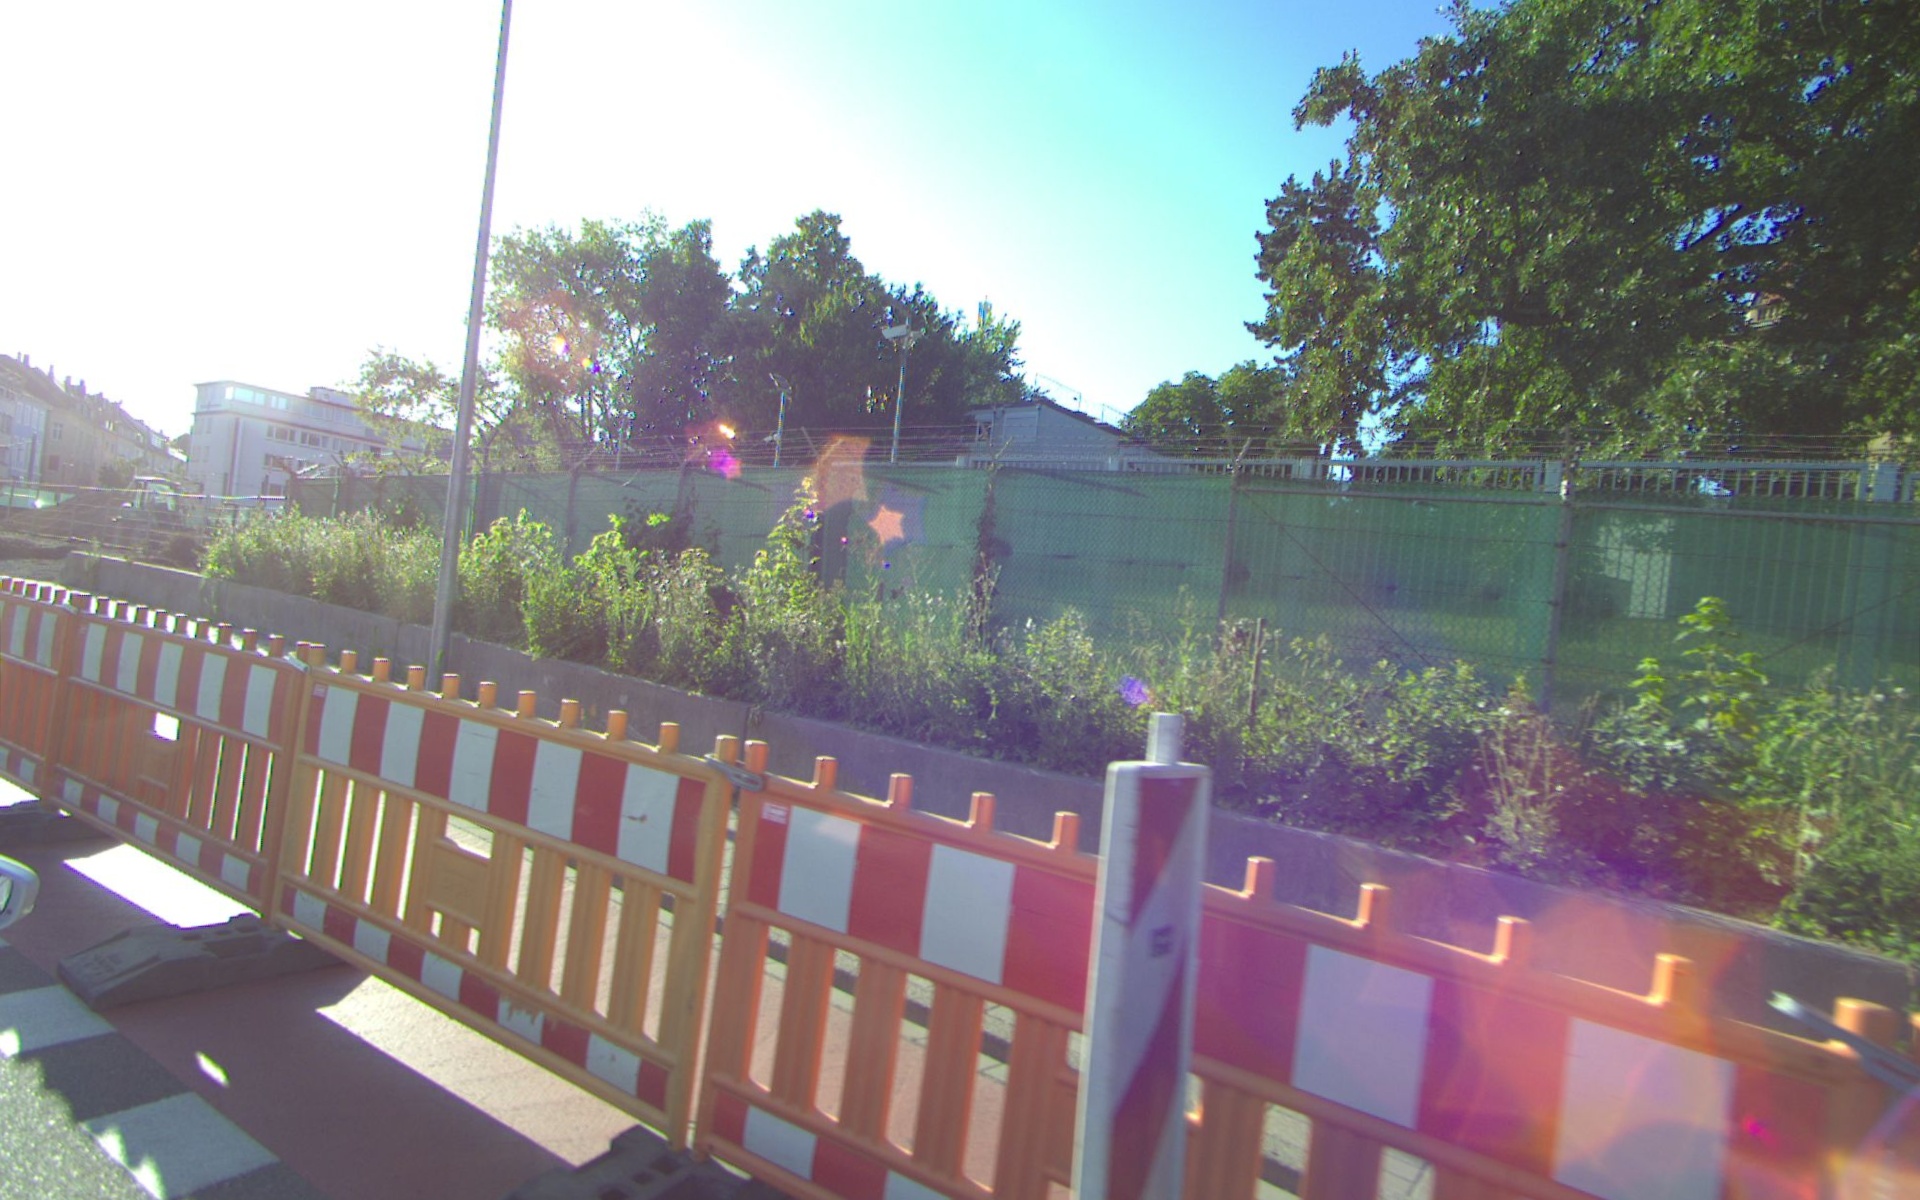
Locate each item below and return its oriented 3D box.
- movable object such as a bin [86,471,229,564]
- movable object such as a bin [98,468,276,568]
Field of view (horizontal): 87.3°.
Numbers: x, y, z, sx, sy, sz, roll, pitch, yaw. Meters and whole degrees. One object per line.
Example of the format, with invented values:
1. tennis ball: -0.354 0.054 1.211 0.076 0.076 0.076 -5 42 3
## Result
1. movable object such as a bin: -28.747 -2.965 36.007 4.860 2.736 2.279 6 0 31
2. movable object such as a bin: -35.555 -3.694 46.607 6.023 3.600 2.836 7 -1 -34
